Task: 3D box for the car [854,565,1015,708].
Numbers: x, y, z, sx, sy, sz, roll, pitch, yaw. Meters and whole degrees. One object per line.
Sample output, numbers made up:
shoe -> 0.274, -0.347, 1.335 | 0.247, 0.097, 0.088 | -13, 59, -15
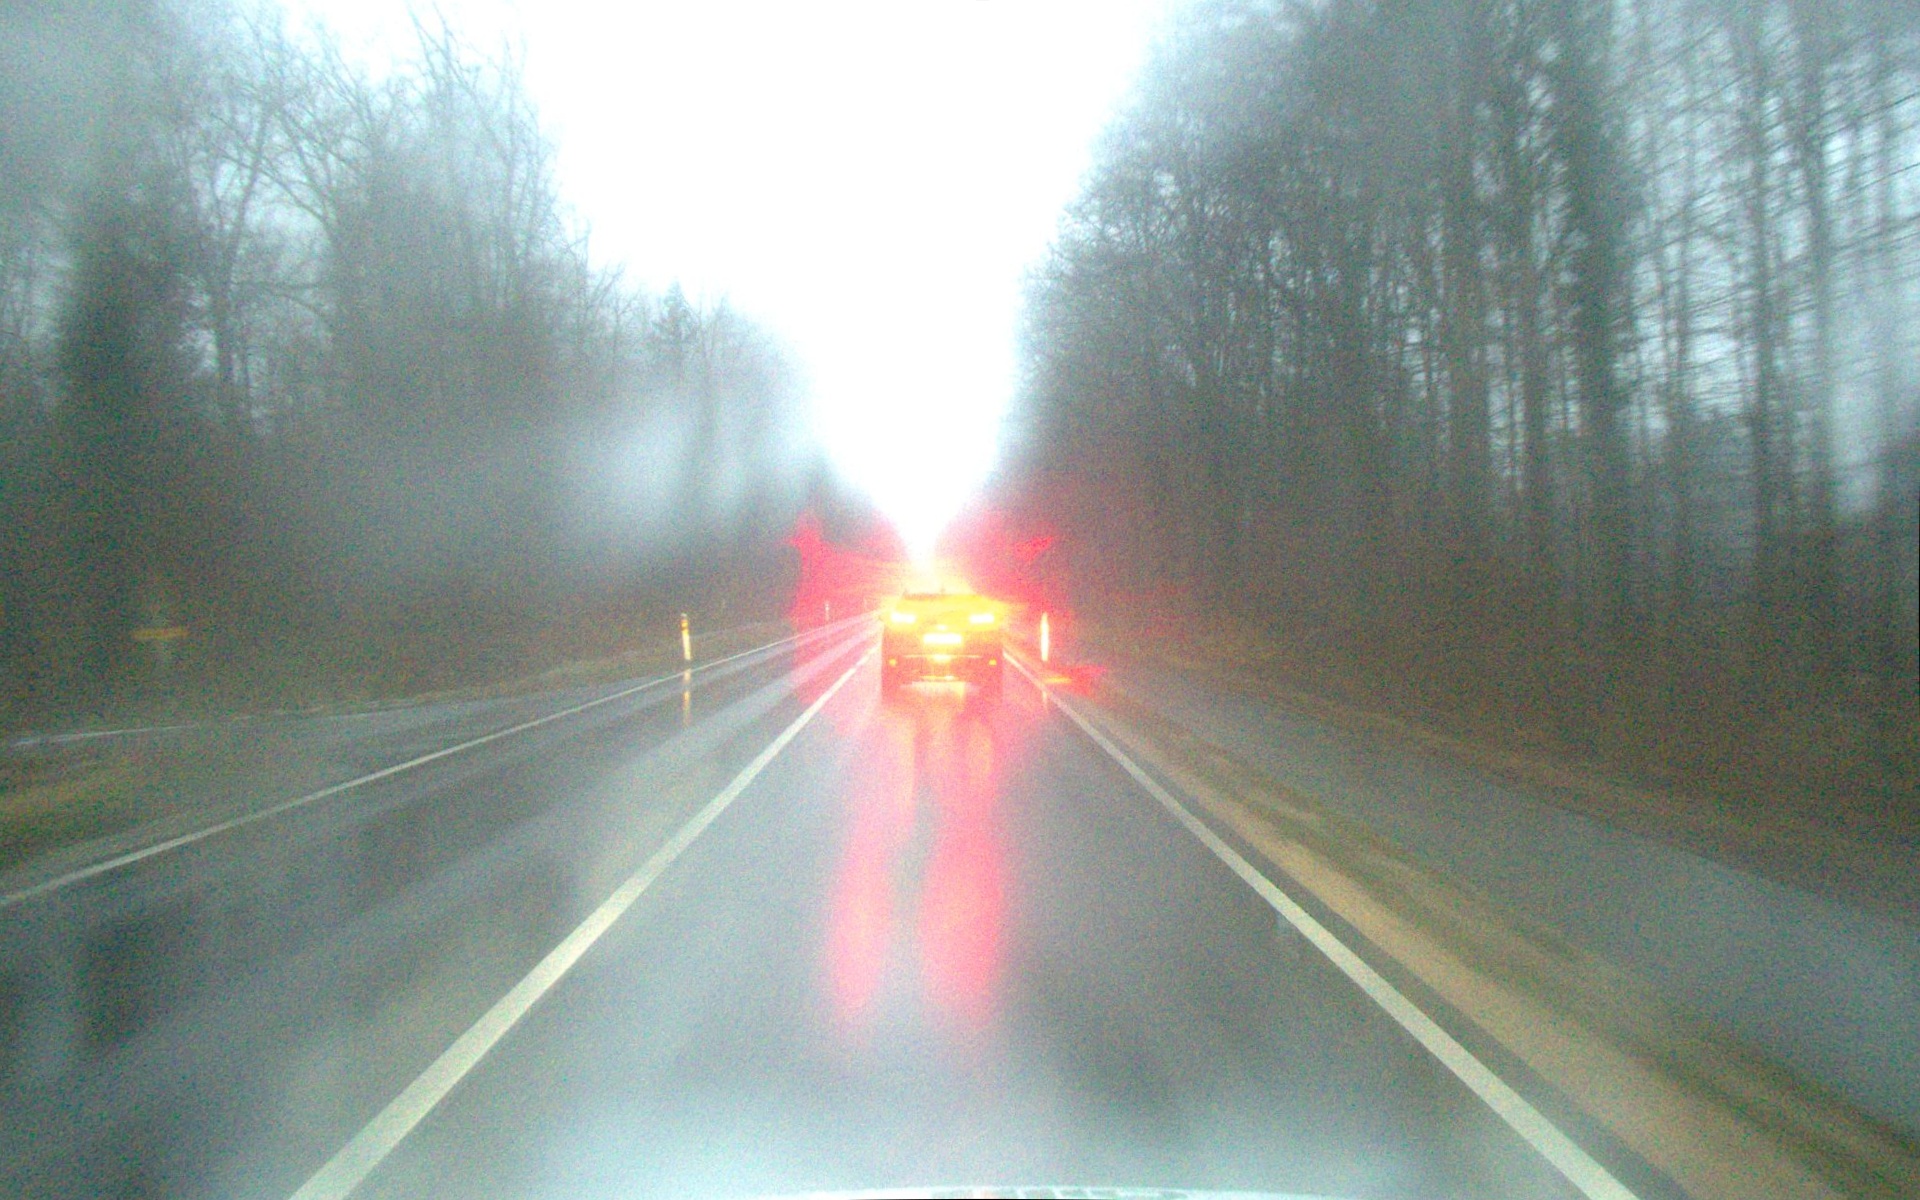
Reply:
car -> -0.401, 0.482, 24.878 | 2.153, 1.910, 4.826 | 1, 0, -1
